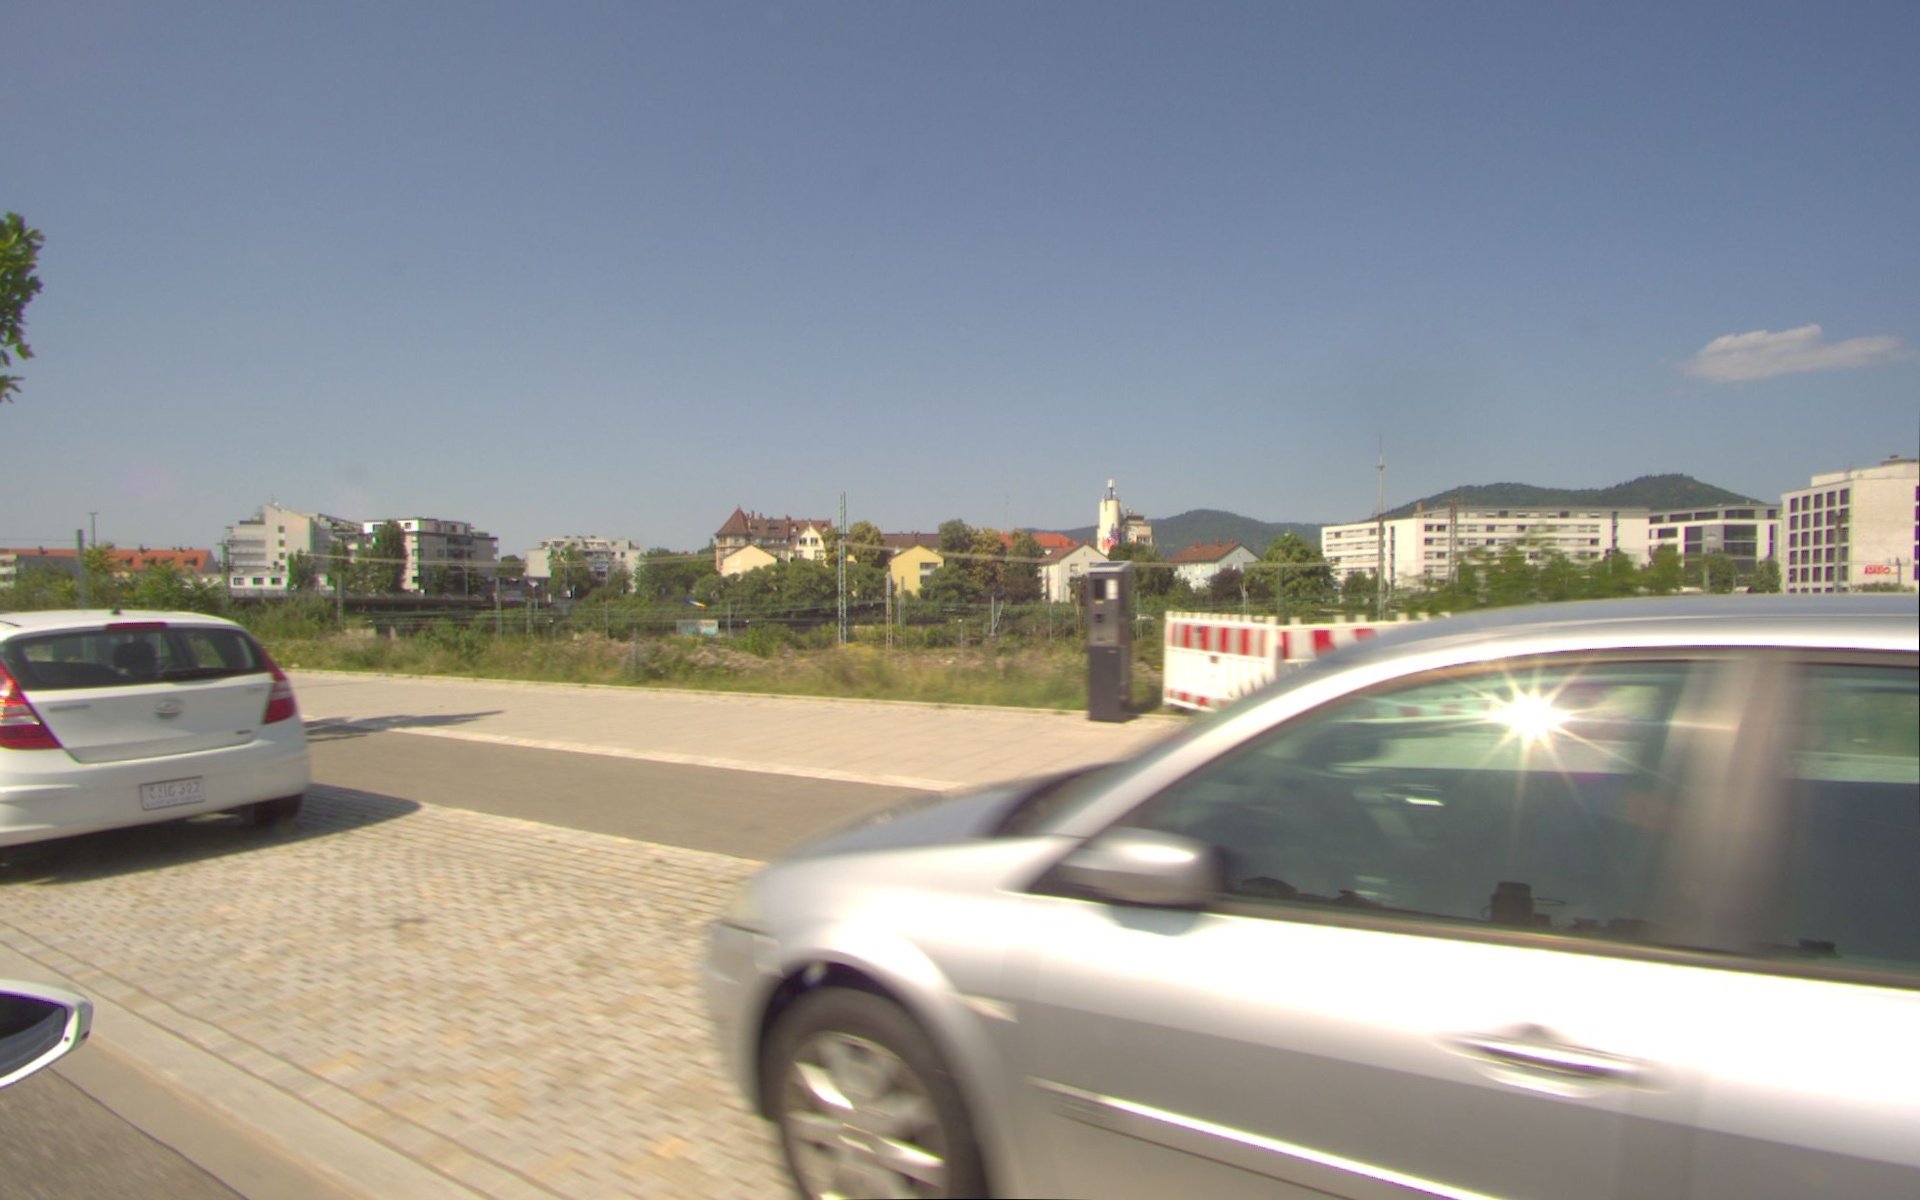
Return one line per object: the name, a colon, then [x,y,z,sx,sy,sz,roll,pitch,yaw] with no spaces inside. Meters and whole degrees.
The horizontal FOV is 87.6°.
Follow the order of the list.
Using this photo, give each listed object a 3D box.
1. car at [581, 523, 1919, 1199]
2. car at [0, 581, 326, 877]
car: [1.177,0.659,2.314,4.102,1.499,1.902,0,0,36]
car: [-6.266,0.669,6.839,3.943,1.529,1.742,0,1,32]
